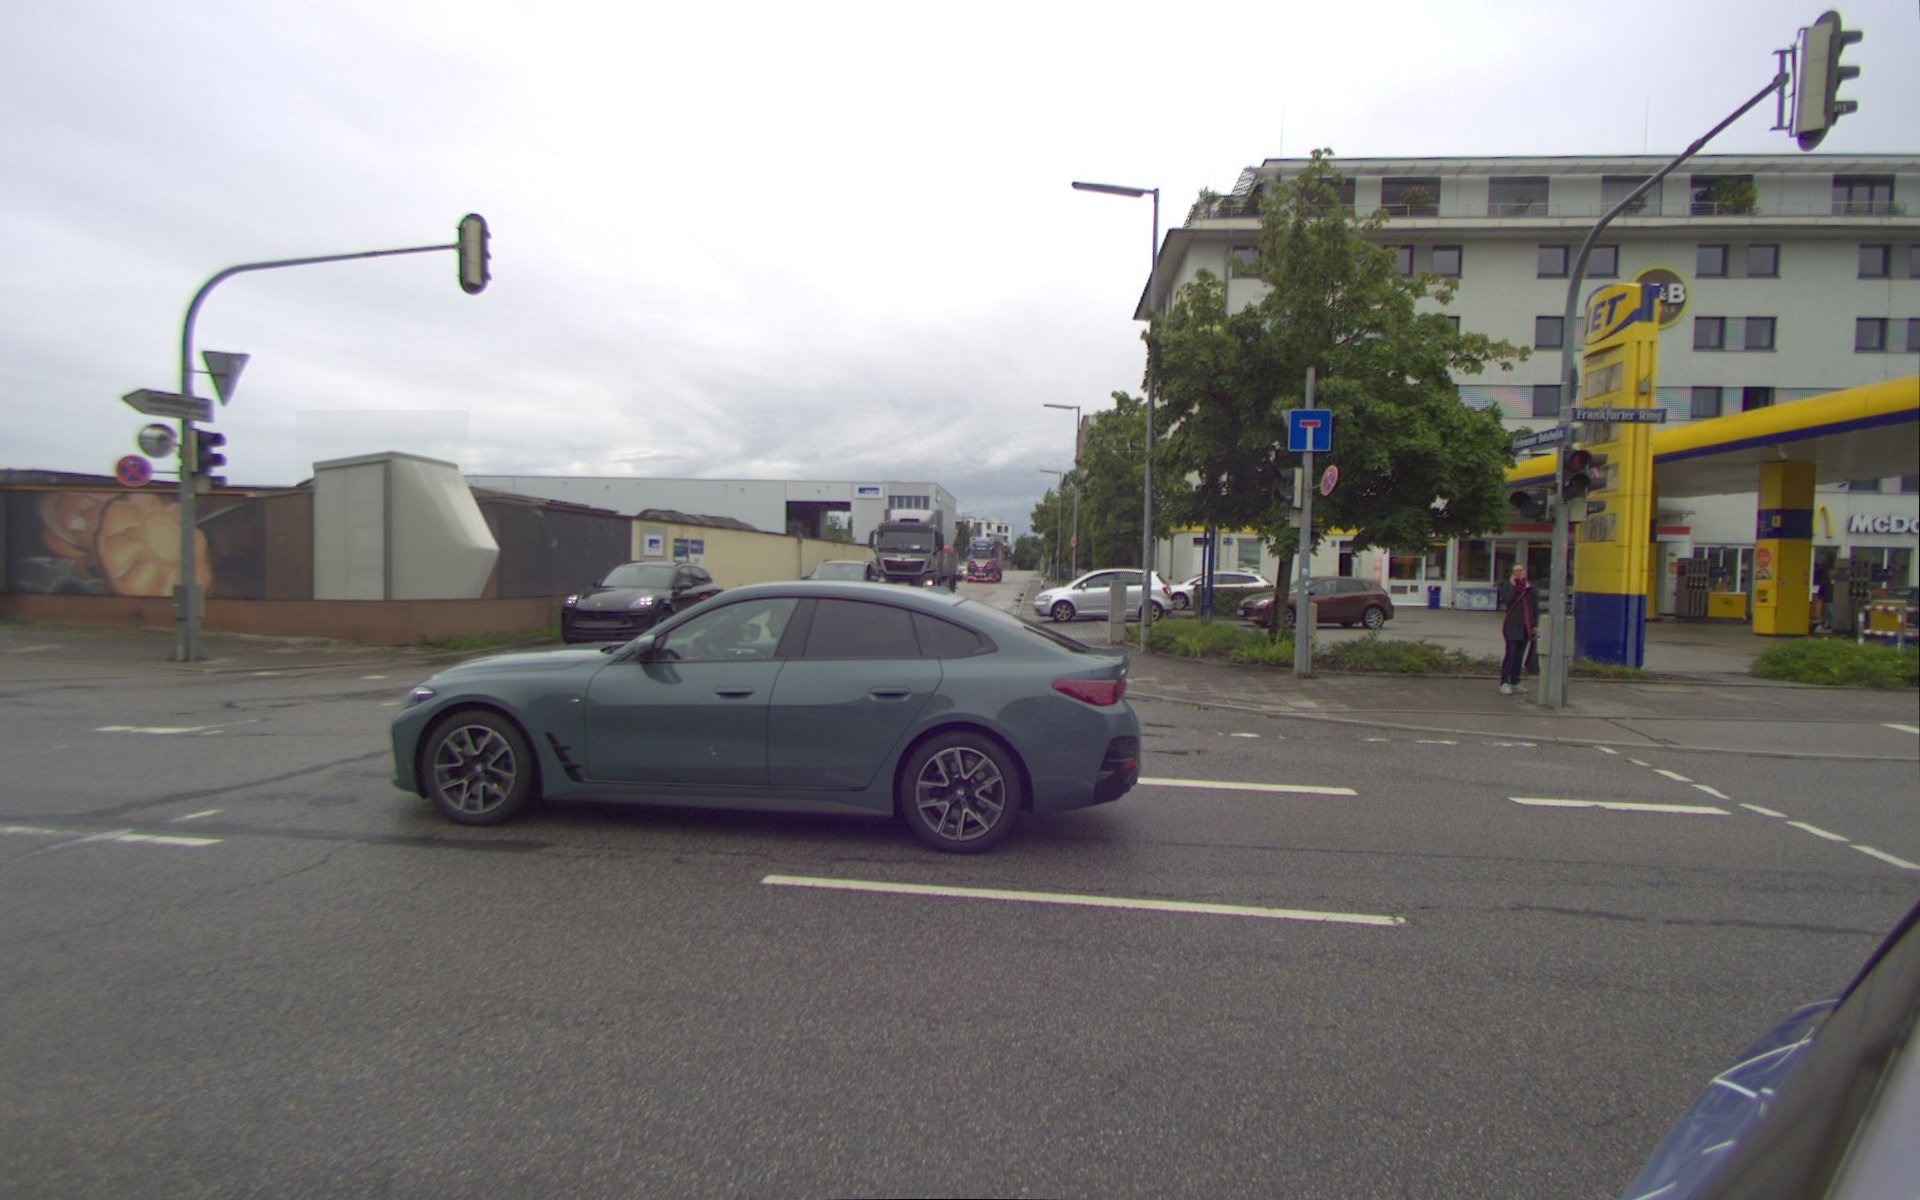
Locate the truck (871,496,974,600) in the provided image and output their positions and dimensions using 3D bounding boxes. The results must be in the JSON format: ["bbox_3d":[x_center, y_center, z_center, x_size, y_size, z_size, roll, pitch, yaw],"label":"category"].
[{"bbox_3d":[-1.375,-2.247,44.648,2.565,3.902,11.917,1,2,7],"label":"truck"}]

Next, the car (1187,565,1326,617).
[{"bbox_3d":[9.245,-0.291,31.833,3.909,1.504,1.626,2,1,7],"label":"car"}]

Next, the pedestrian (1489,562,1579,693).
[{"bbox_3d":[7.563,0.340,13.374,0.675,1.634,0.805,1,4,4],"label":"pedestrian"}]

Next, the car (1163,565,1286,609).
[{"bbox_3d":[9.842,-0.491,37.902,4.118,1.496,1.907,2,1,5],"label":"car"}]

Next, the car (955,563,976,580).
[{"bbox_3d":[0.643,-3.066,110.108,1.840,1.727,4.097,1,1,5],"label":"car"}]

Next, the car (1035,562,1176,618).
[{"bbox_3d":[4.200,-0.296,29.693,3.905,1.504,1.627,2,1,3],"label":"car"}]

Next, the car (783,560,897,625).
[{"bbox_3d":[-3.113,-0.275,27.256,1.966,1.551,4.625,2,3,7],"label":"car"}]

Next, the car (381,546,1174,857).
[{"bbox_3d":[-0.995,0.505,6.438,4.361,1.526,1.915,2,1,5],"label":"car"}]

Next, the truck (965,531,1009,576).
[{"bbox_3d":[2.621,-4.331,94.073,2.830,3.878,11.917,1,3,7],"label":"truck"}]

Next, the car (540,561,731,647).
[{"bbox_3d":[-6.199,-0.018,19.905,1.966,1.445,4.257,2,3,7],"label":"car"}]

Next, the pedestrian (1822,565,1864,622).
[{"bbox_3d":[27.613,-0.218,31.665,0.631,1.750,0.709,1,0,1],"label":"pedestrian"}]

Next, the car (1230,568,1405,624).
[{"bbox_3d":[9.987,-0.119,28.458,4.276,1.401,1.706,1,1,-5],"label":"car"}]

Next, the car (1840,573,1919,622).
[{"bbox_3d":[32.775,-0.095,34.745,1.675,1.606,3.998,1,2,3],"label":"car"}]
